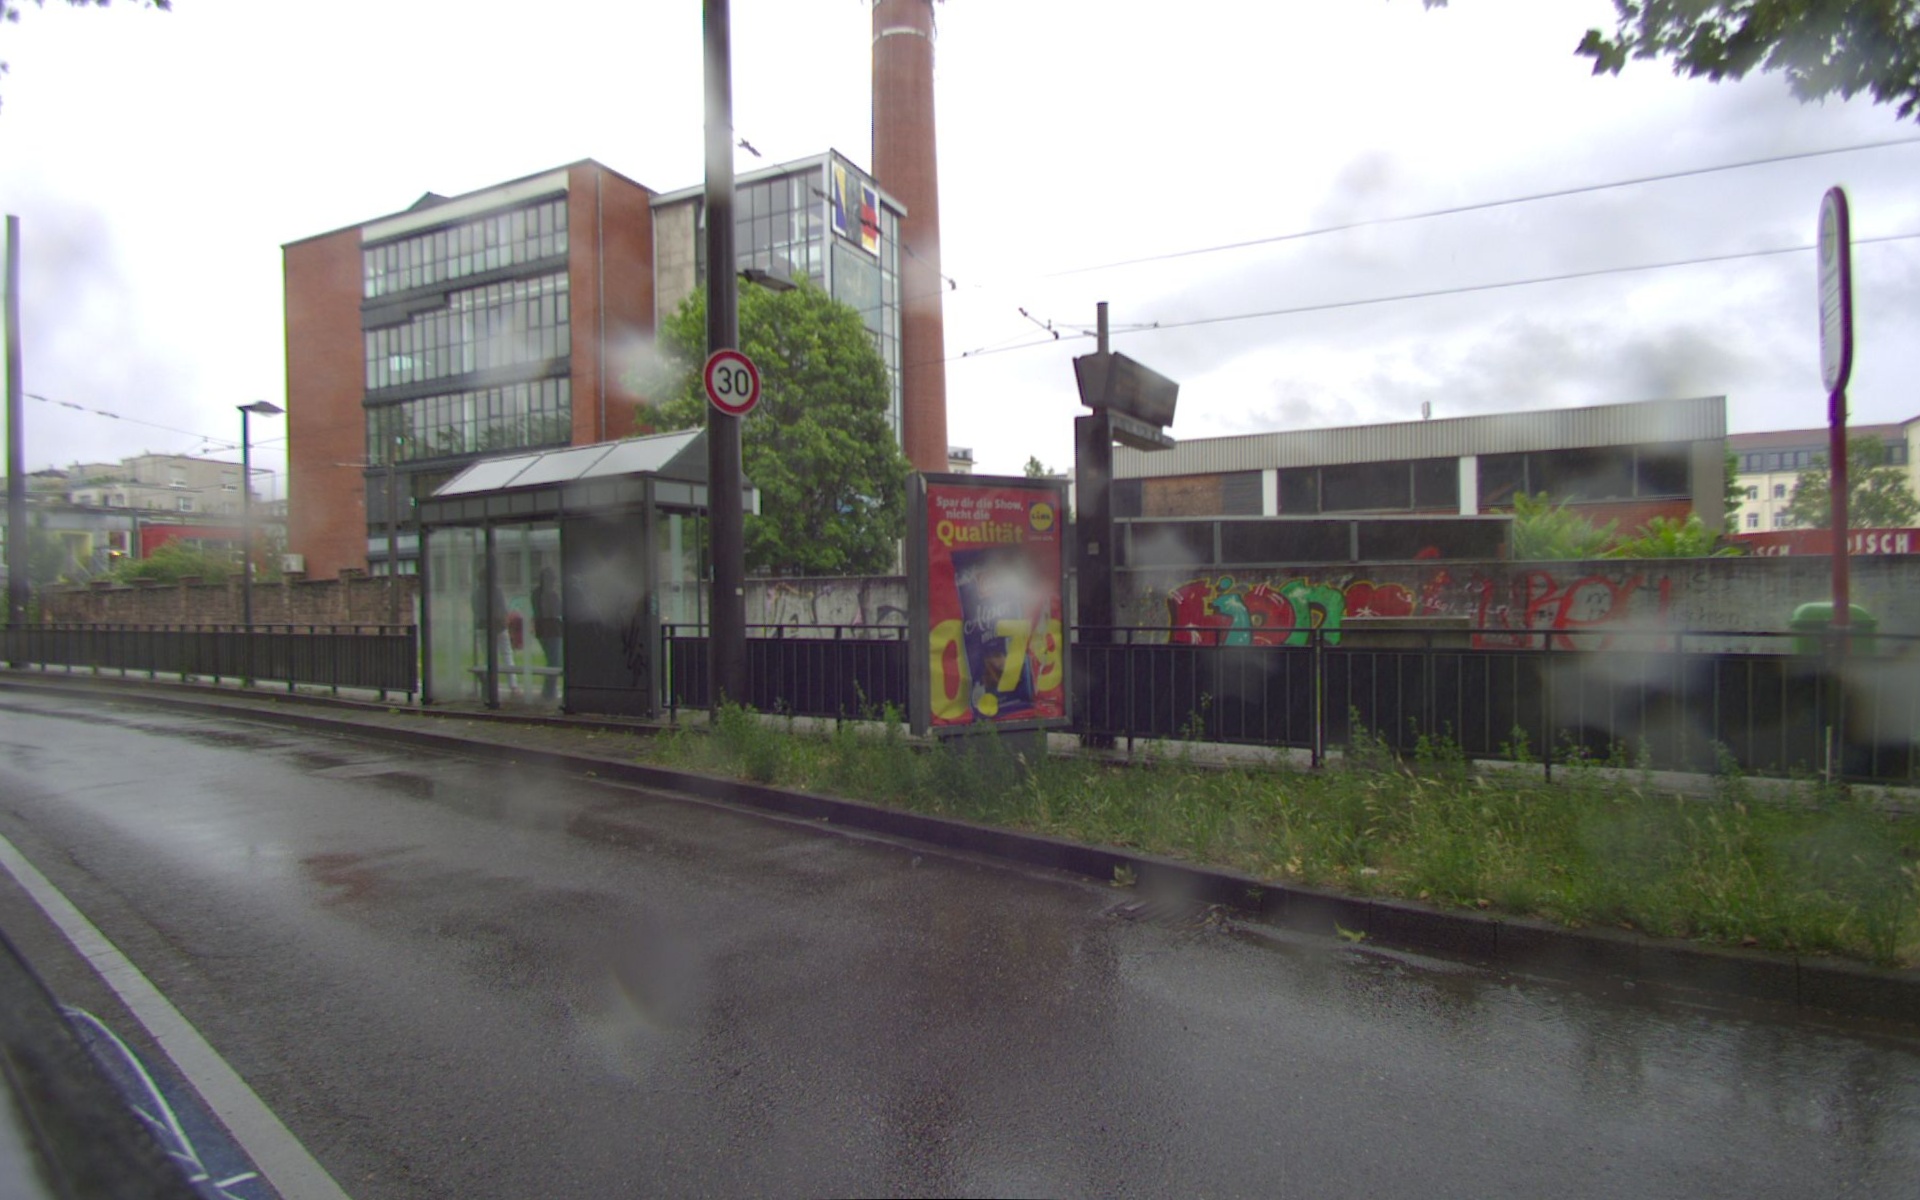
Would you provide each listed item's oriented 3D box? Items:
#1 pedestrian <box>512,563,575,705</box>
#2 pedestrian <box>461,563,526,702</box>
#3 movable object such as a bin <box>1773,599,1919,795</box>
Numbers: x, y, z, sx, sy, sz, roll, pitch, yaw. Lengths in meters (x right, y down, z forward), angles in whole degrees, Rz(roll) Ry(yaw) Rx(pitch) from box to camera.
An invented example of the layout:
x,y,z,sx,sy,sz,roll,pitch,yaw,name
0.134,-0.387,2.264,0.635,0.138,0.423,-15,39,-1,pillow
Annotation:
x,y,z,sx,sy,sz,roll,pitch,yaw,name
-5.237,0.421,12.749,0.560,1.744,0.583,0,-2,-3,pedestrian
-5.952,0.413,12.946,0.560,1.744,0.583,0,-2,-1,pedestrian
5.225,0.554,5.994,0.528,1.098,0.414,-1,-2,25,movable object such as a bin
